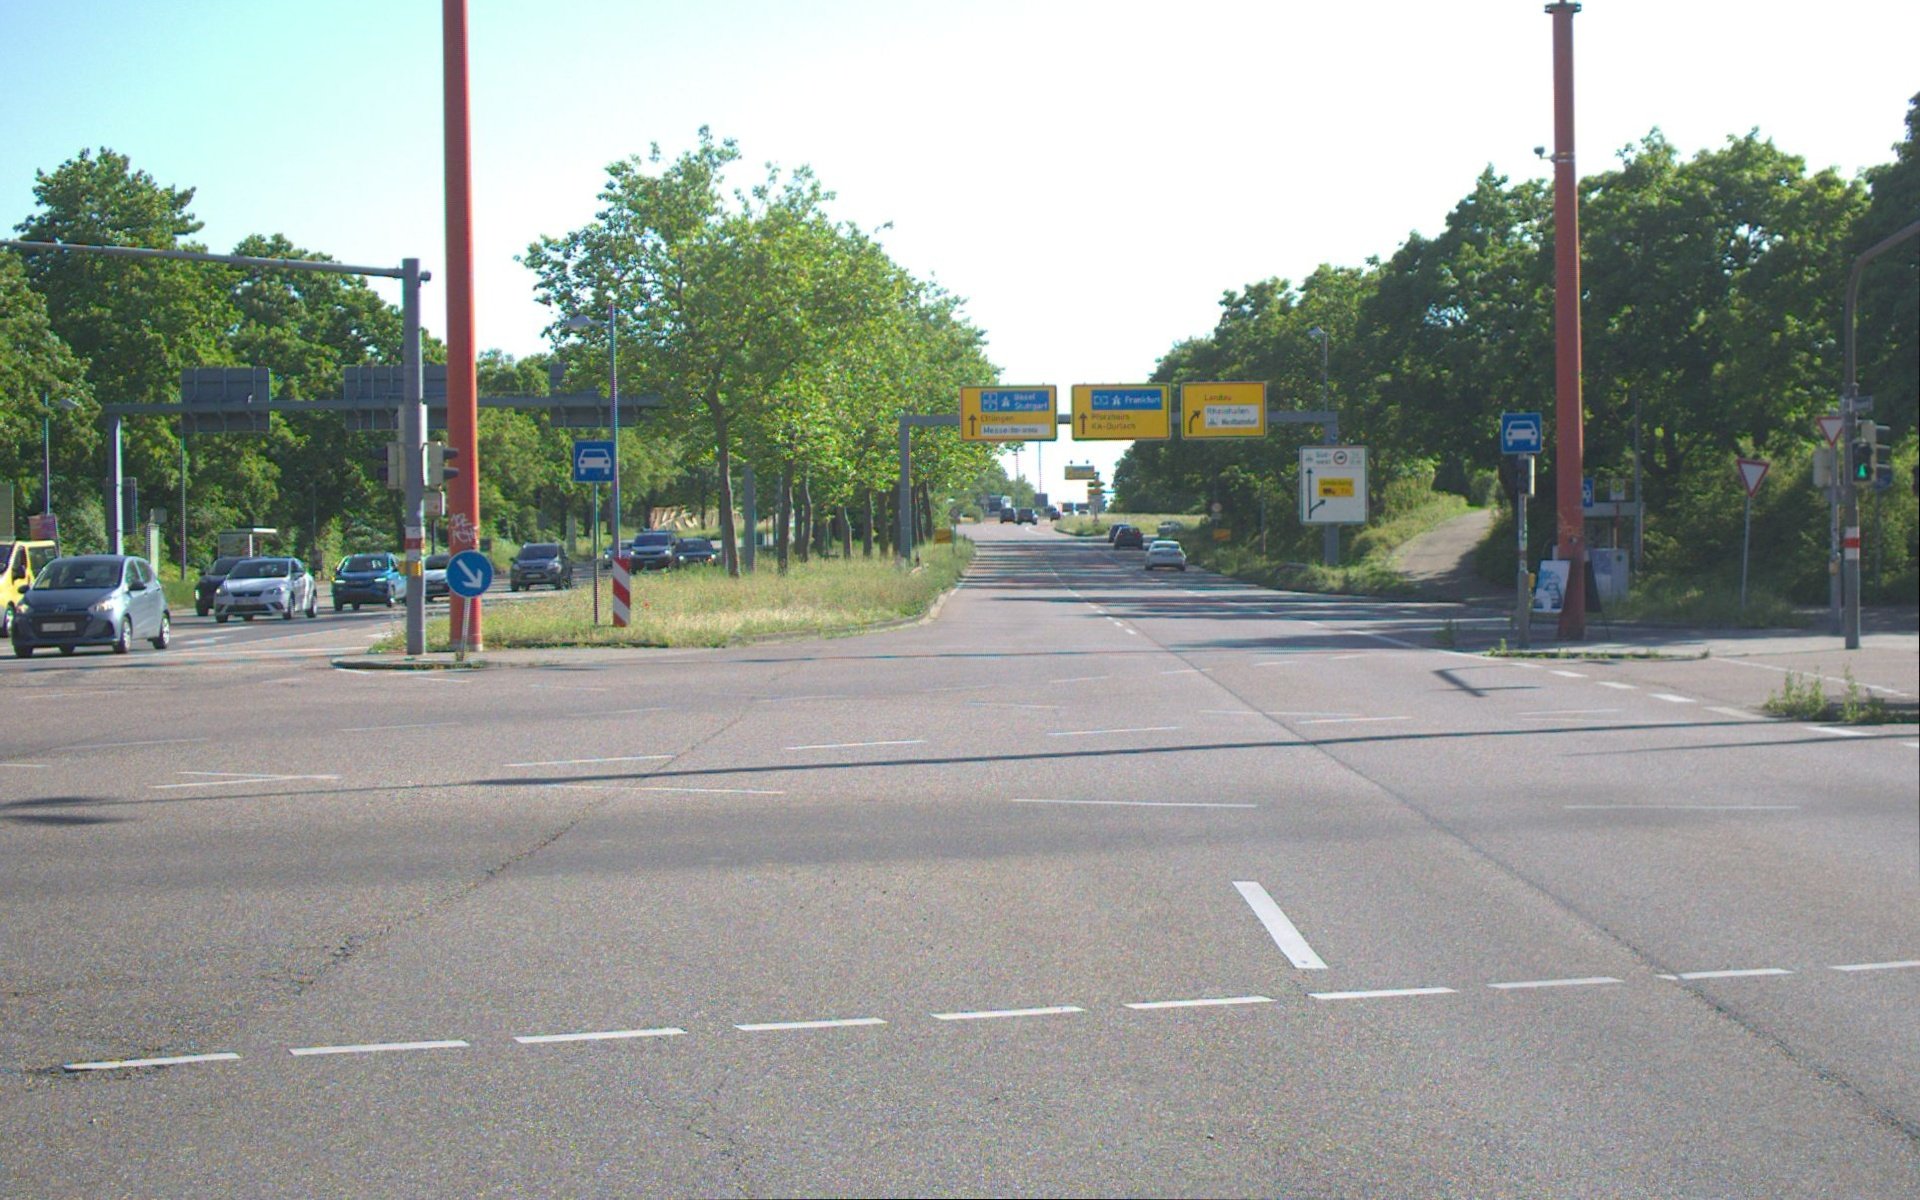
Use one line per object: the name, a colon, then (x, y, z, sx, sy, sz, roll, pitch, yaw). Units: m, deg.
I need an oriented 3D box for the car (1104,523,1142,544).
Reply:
car: (11.751, -4.787, 247.977, 1.993, 1.491, 4.001, 1, 1, -7)

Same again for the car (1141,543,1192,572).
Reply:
car: (9.734, -2.015, 162.451, 2.054, 1.366, 4.392, 0, 1, -1)

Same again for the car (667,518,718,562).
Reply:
car: (-10.867, -2.412, 139.847, 1.657, 1.741, 4.000, 1, 1, 2)

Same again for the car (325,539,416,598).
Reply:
car: (-15.893, -0.854, 92.901, 1.704, 1.553, 3.803, 1, 1, 2)

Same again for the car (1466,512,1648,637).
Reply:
car: (9.376, -0.419, 53.792, 1.996, 1.881, 3.996, 0, 1, 22)

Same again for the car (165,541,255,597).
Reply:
car: (-20.198, -0.838, 92.702, 1.628, 1.445, 3.434, 1, 1, 1)

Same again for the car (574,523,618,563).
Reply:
car: (-18.943, -2.957, 179.072, 2.003, 2.007, 4.000, 1, 1, -2)

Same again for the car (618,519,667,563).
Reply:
car: (-14.784, -2.748, 160.185, 2.003, 2.007, 4.000, 1, 1, -2)

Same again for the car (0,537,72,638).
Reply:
car: (-19.592, -0.276, 69.877, 1.757, 1.980, 4.789, 1, 1, 1)

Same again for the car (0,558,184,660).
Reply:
car: (-13.142, 0.114, 52.152, 1.701, 1.416, 4.000, 3, 0, 1)

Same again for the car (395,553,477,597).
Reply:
car: (-16.019, -0.783, 105.224, 2.003, 1.303, 4.000, -1, 1, -2)

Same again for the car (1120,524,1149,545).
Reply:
car: (11.256, -4.242, 221.768, 1.738, 1.337, 3.081, 0, 1, 1)

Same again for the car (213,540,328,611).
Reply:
car: (-15.827, -0.565, 79.041, 1.704, 1.590, 4.000, 1, 1, 2)

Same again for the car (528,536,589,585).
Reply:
car: (-14.479, -1.443, 123.997, 1.625, 1.733, 4.000, 0, 1, 1)
